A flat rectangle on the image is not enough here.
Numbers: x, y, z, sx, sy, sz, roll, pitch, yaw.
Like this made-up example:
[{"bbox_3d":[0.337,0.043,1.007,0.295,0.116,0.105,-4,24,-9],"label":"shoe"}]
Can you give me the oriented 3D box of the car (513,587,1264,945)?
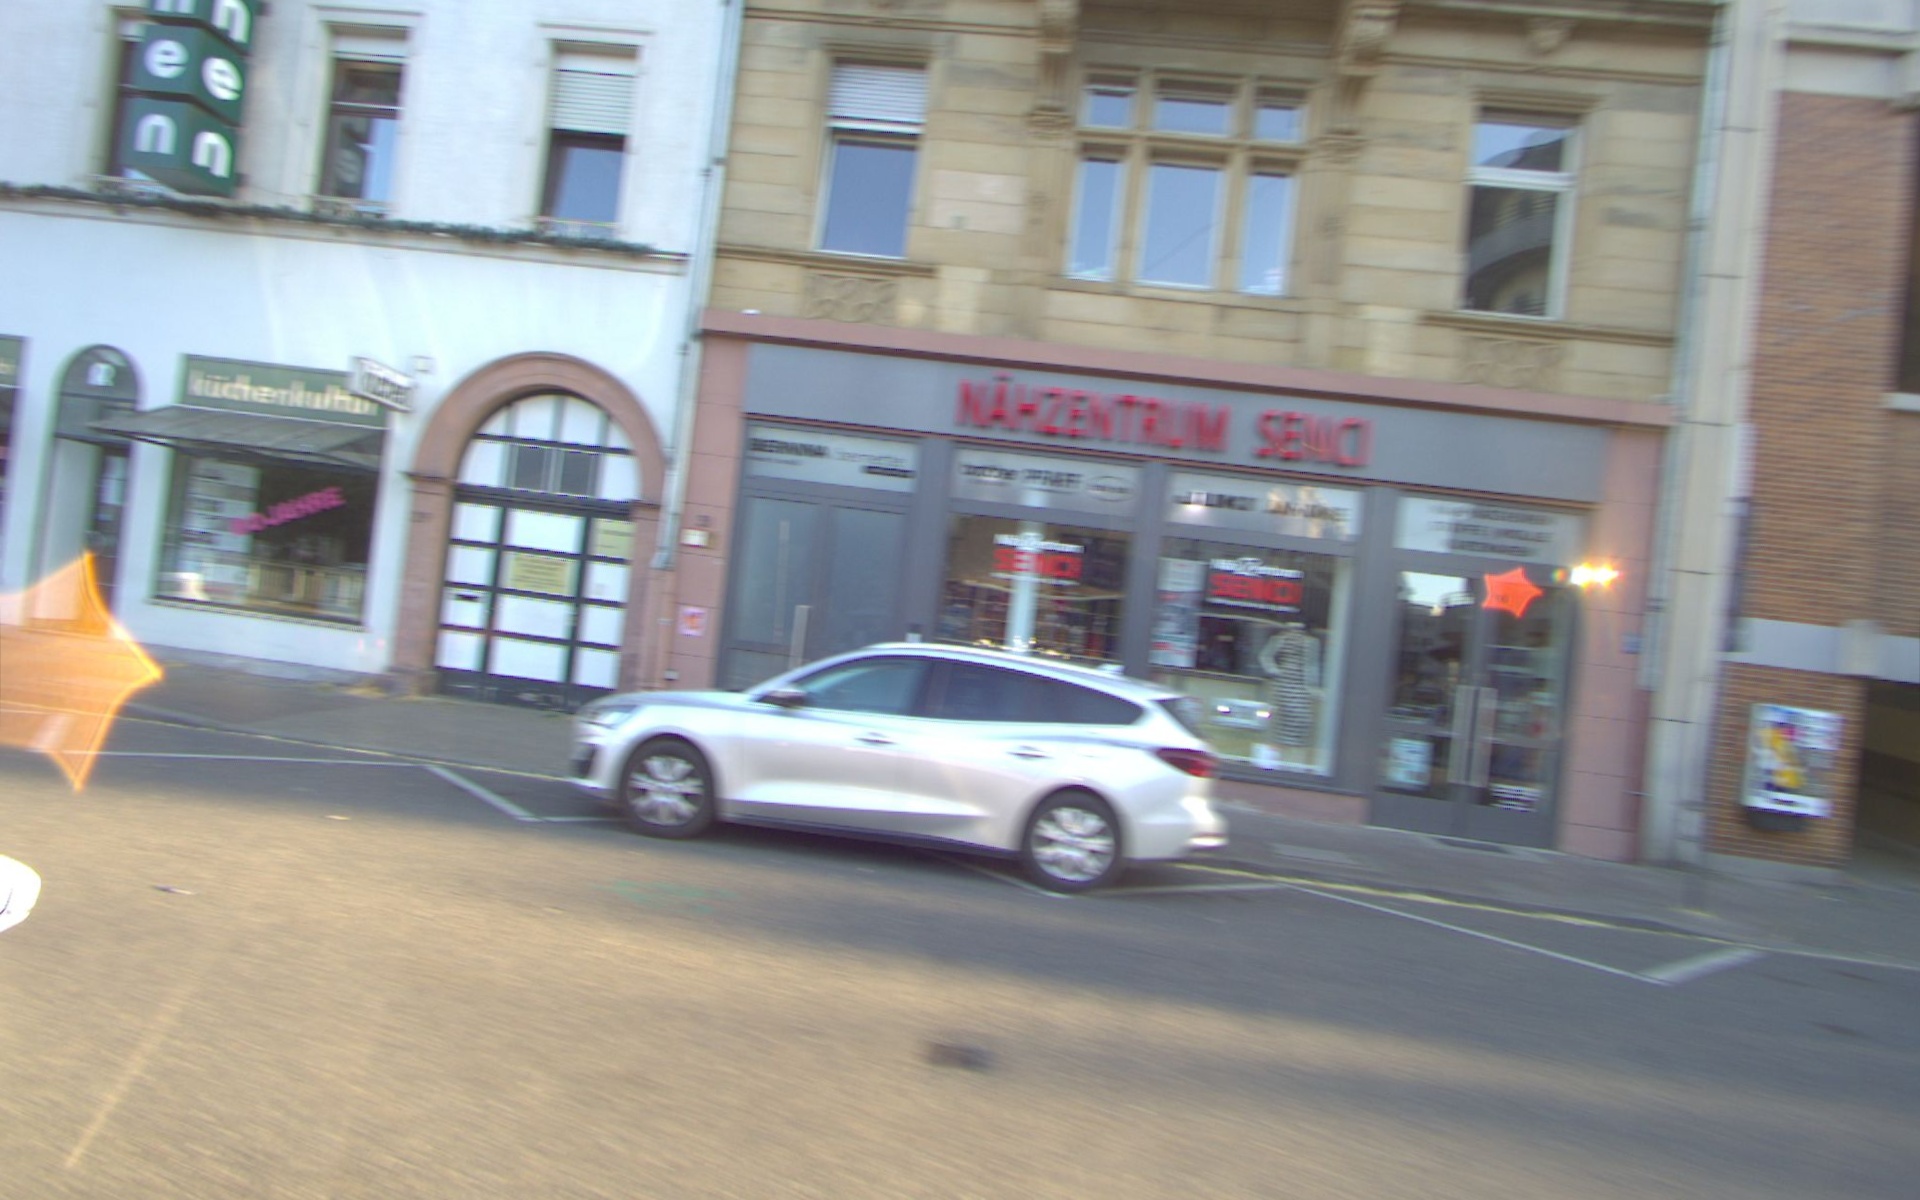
[{"bbox_3d":[-0.437,1.070,7.334,4.594,1.552,2.002,8,-2,4],"label":"car"}]
